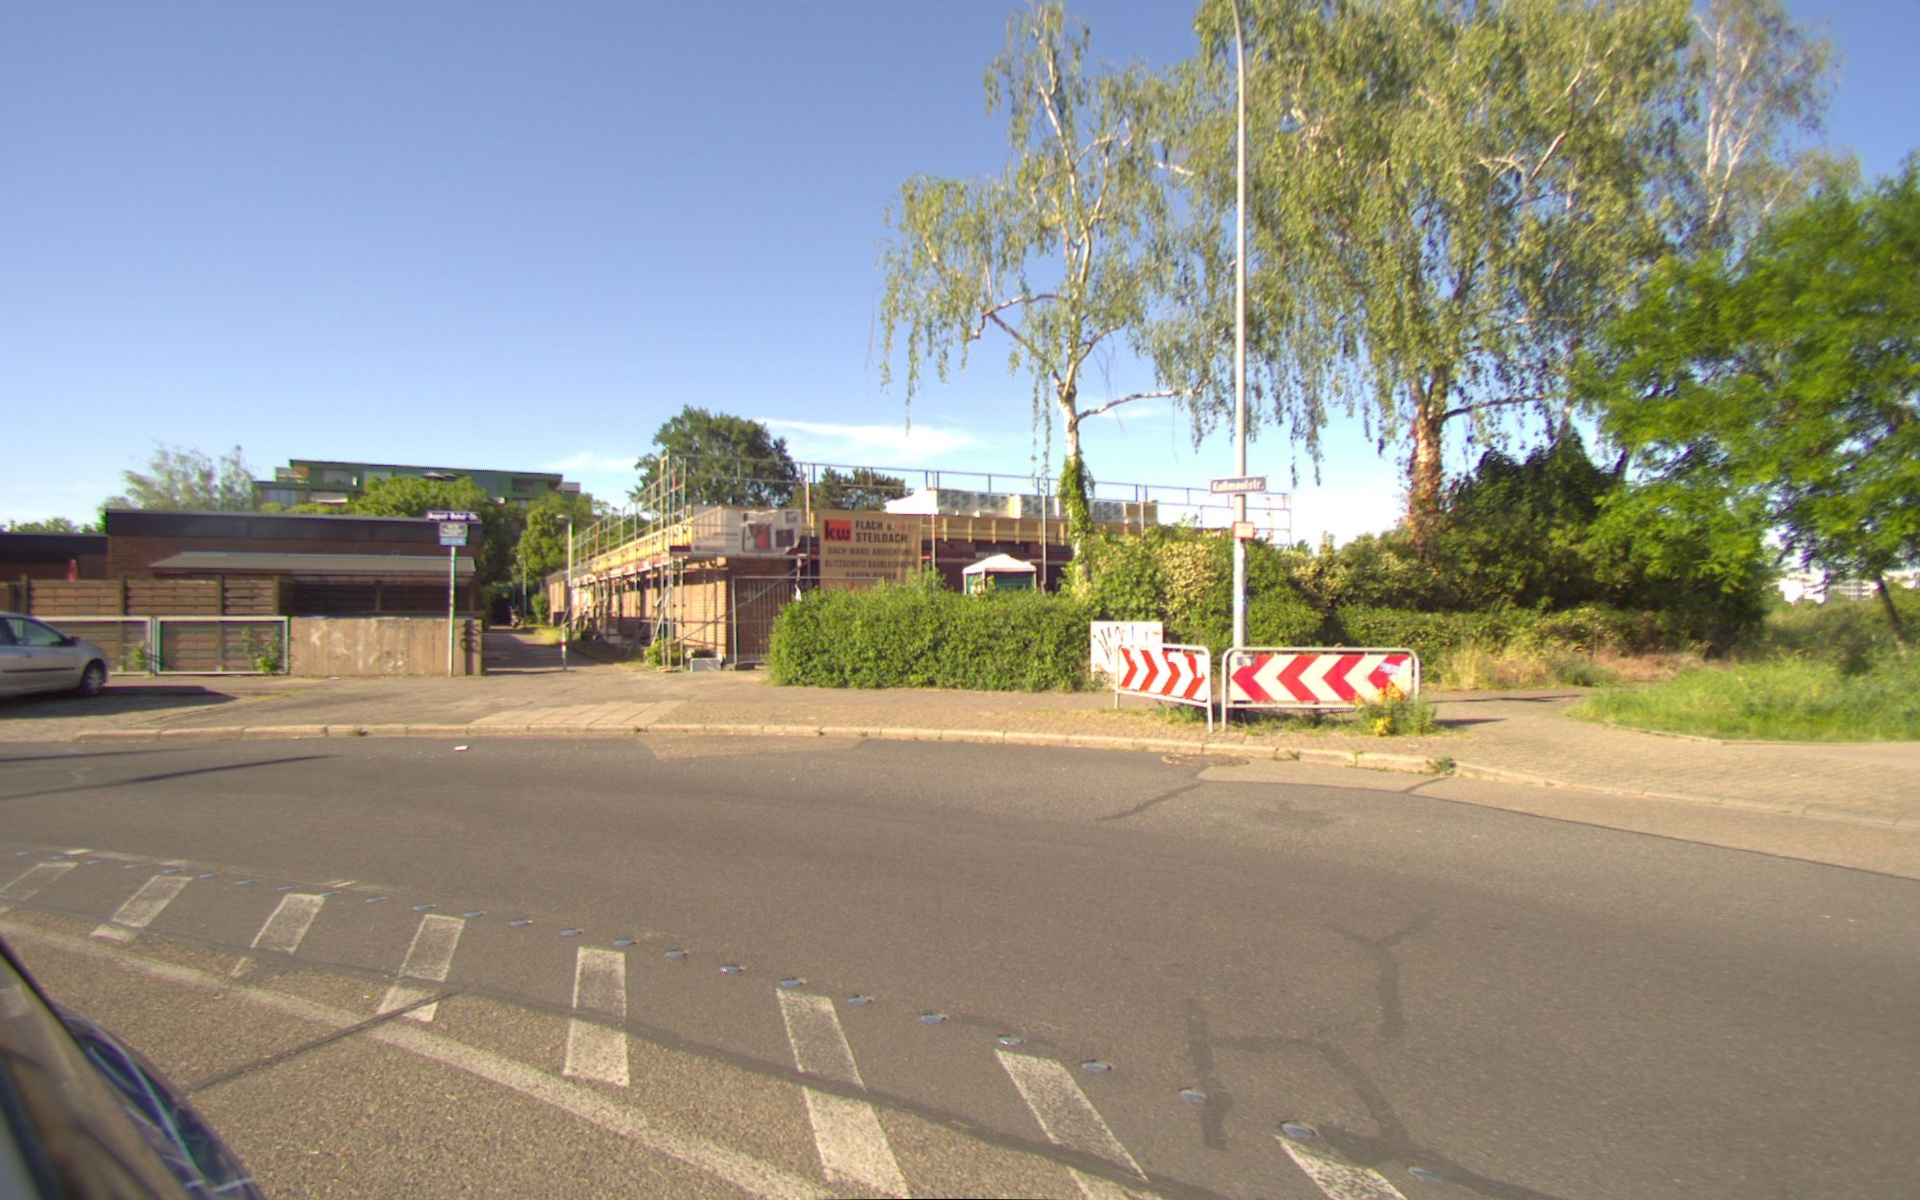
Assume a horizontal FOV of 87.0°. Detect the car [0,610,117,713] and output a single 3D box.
[{"bbox_3d":[-15.018,0.920,15.469,1.608,1.469,3.706,0,0,-9],"label":"car"}]
